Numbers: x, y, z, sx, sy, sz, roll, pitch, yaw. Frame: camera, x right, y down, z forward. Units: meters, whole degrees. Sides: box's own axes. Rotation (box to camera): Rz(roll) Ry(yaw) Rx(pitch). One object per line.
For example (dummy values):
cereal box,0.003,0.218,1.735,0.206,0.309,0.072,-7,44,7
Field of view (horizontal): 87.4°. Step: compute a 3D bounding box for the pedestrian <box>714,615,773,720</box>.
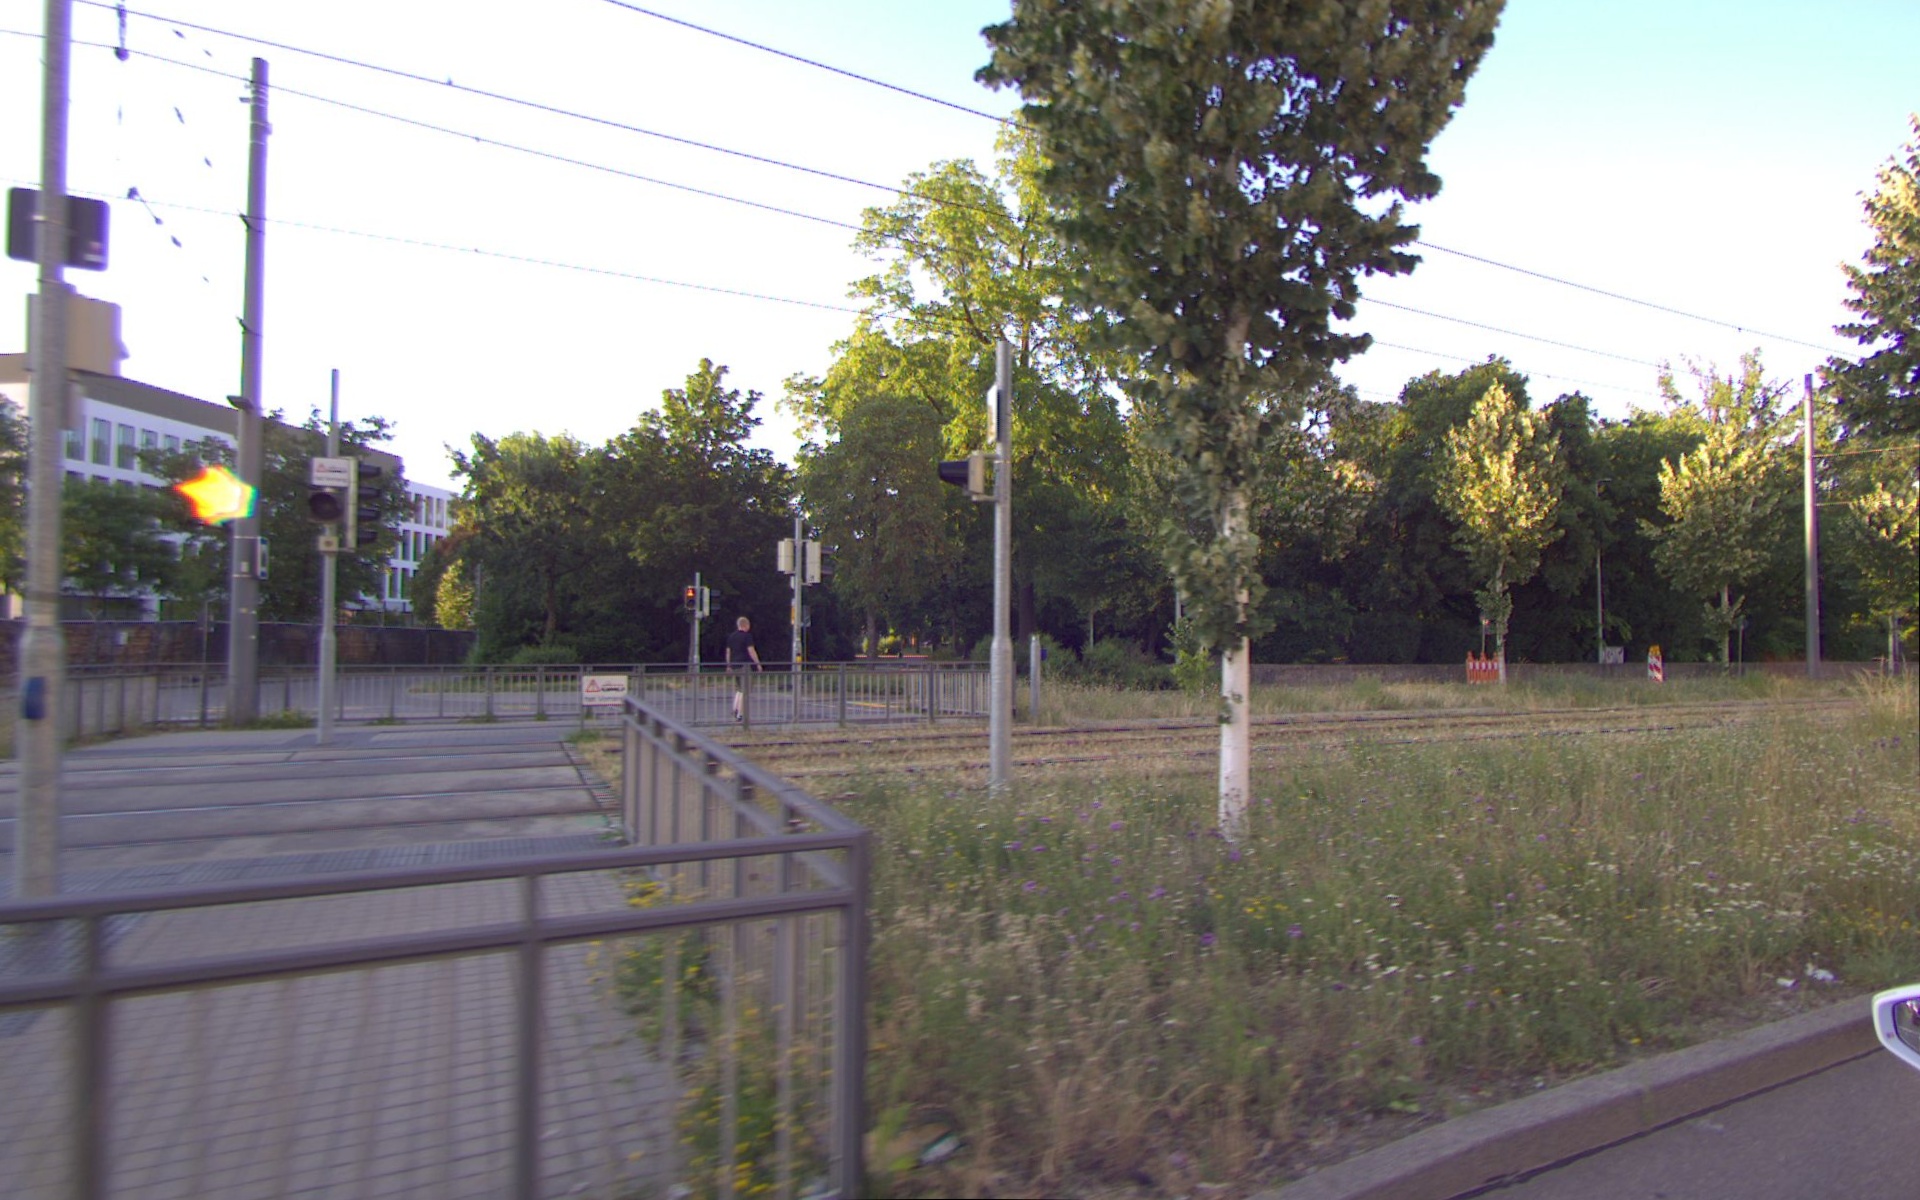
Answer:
pedestrian,-3.533,1.094,16.429,0.664,1.629,0.671,-3,1,7
